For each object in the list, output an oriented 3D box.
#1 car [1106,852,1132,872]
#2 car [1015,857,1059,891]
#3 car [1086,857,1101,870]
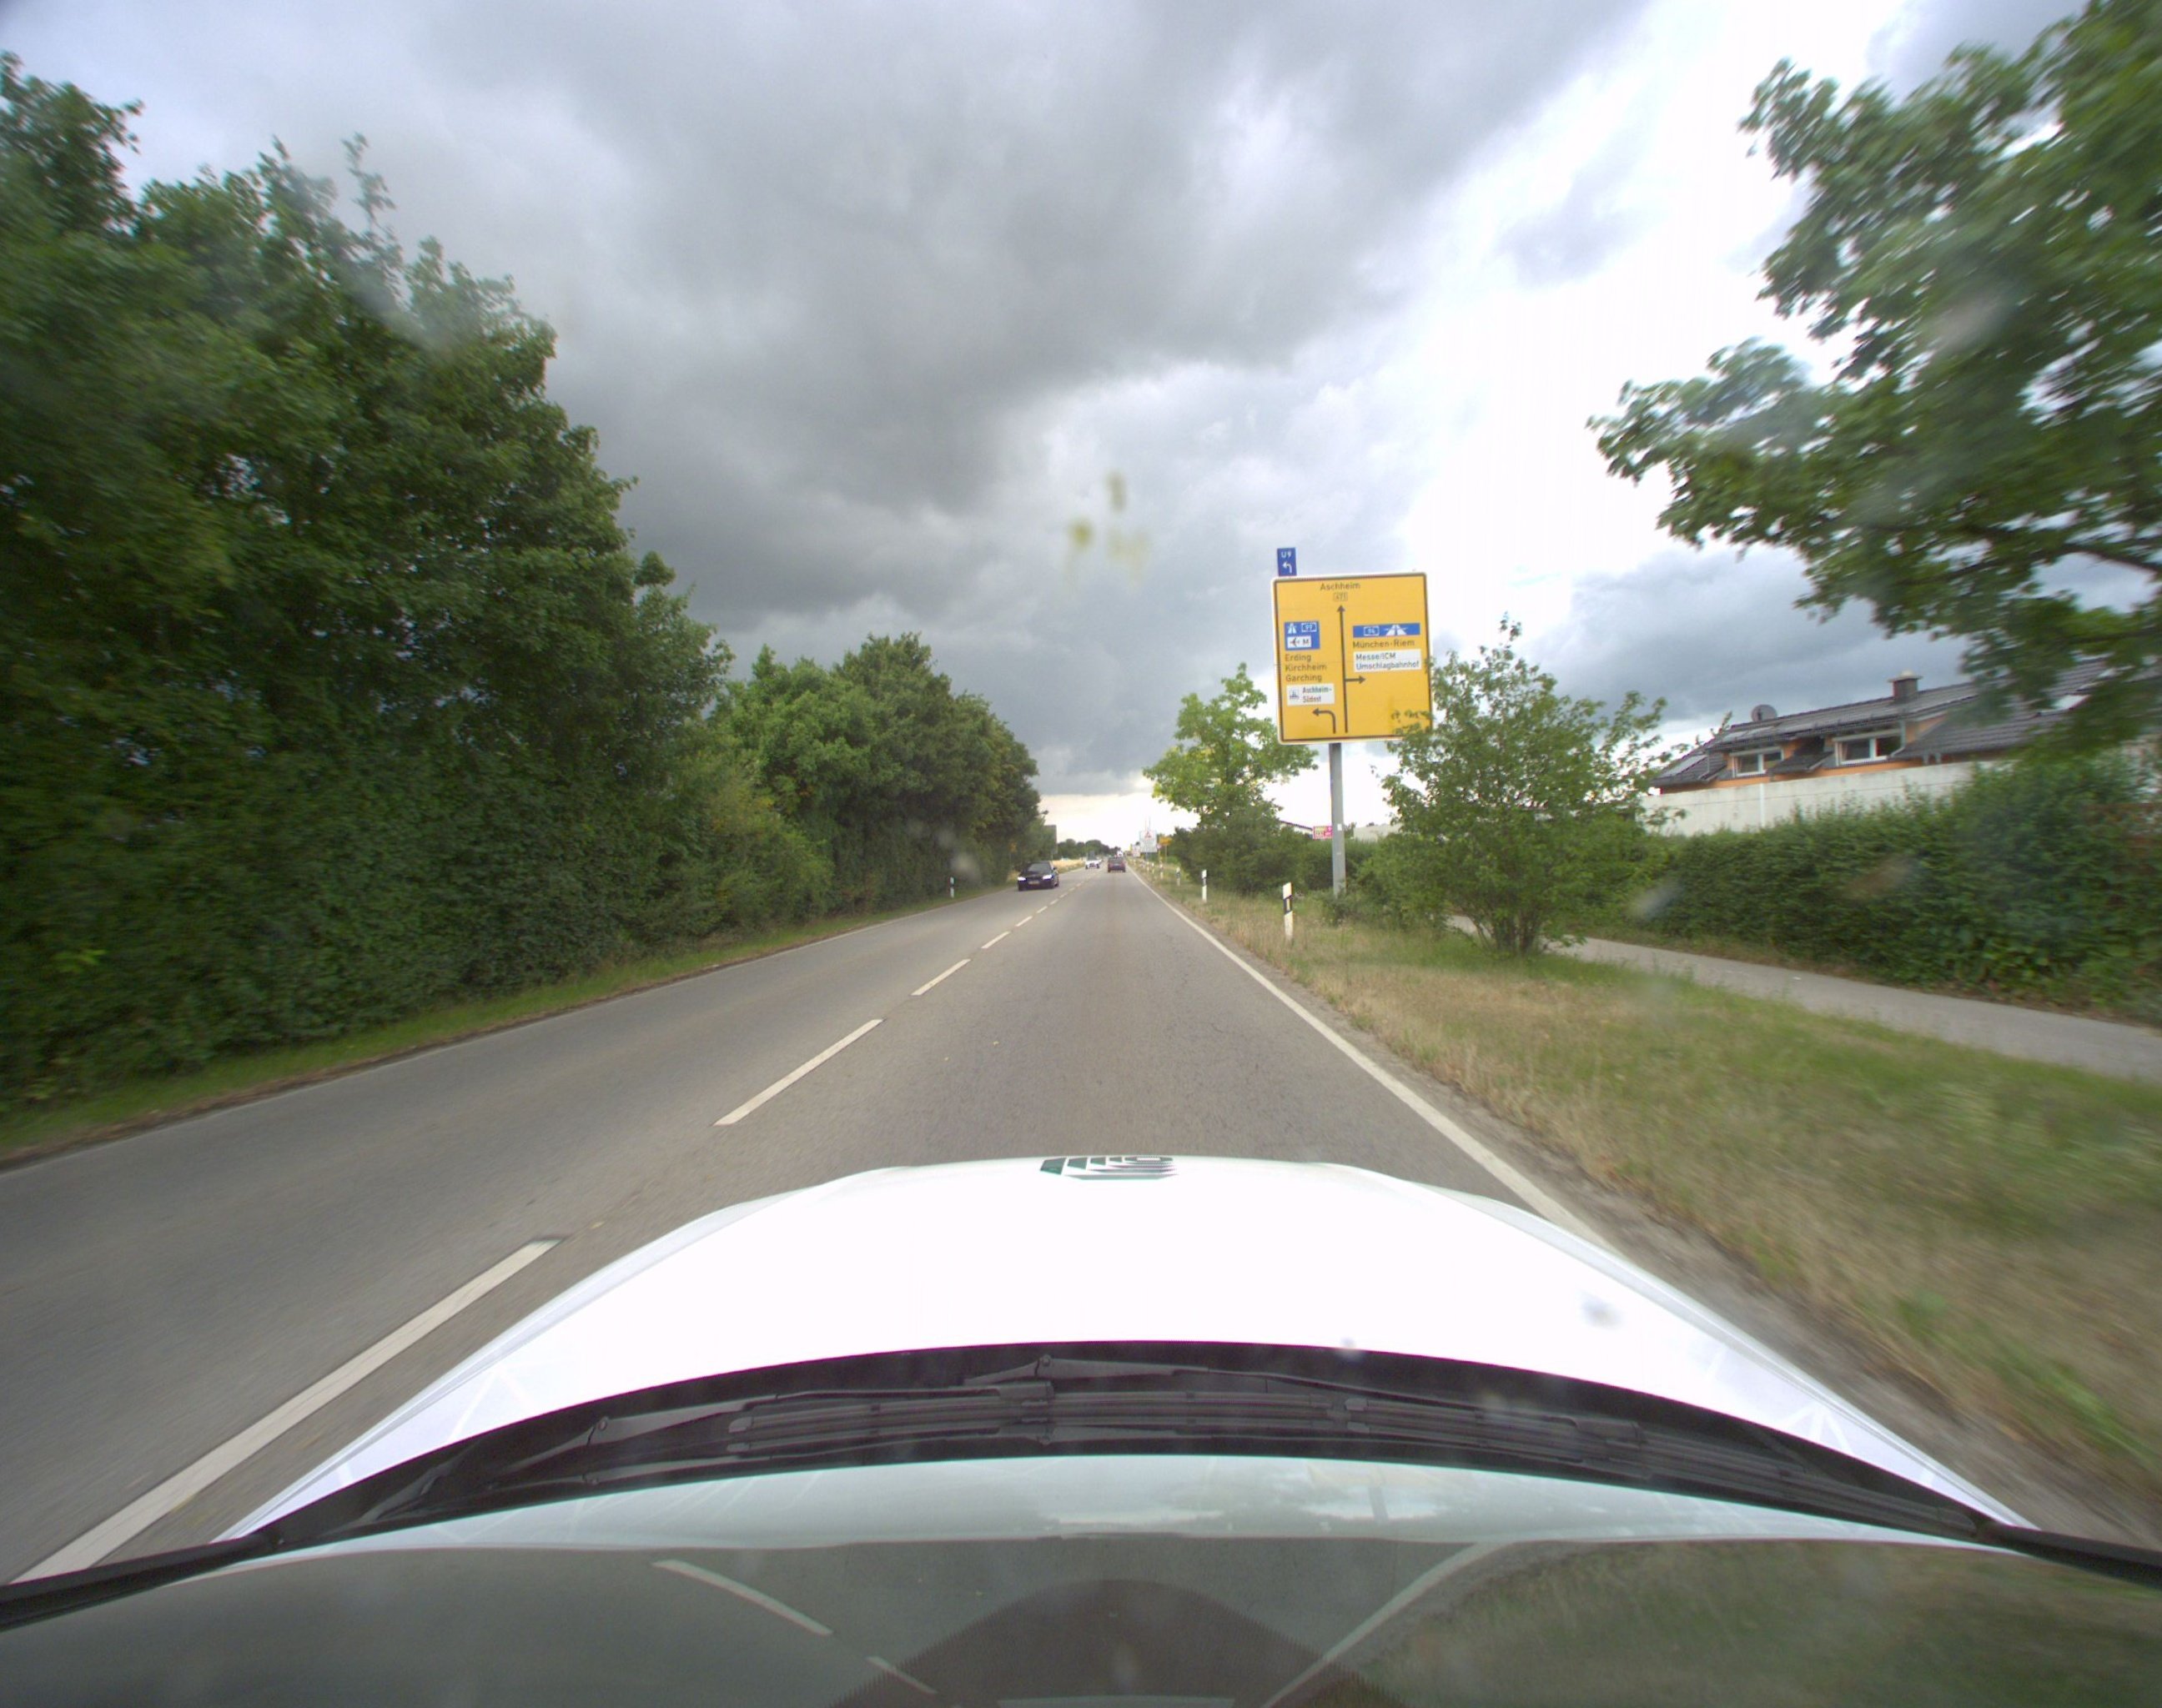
[{"bbox_3d":[3.848,0.807,83.678,2.364,1.880,4.477,-4,-1,0],"label":"car"},{"bbox_3d":[-2.257,1.006,43.185,1.934,1.586,4.556,-4,-1,0],"label":"car"},{"bbox_3d":[1.857,1.354,118.935,1.985,1.684,4.813,-3,0,3],"label":"car"}]
